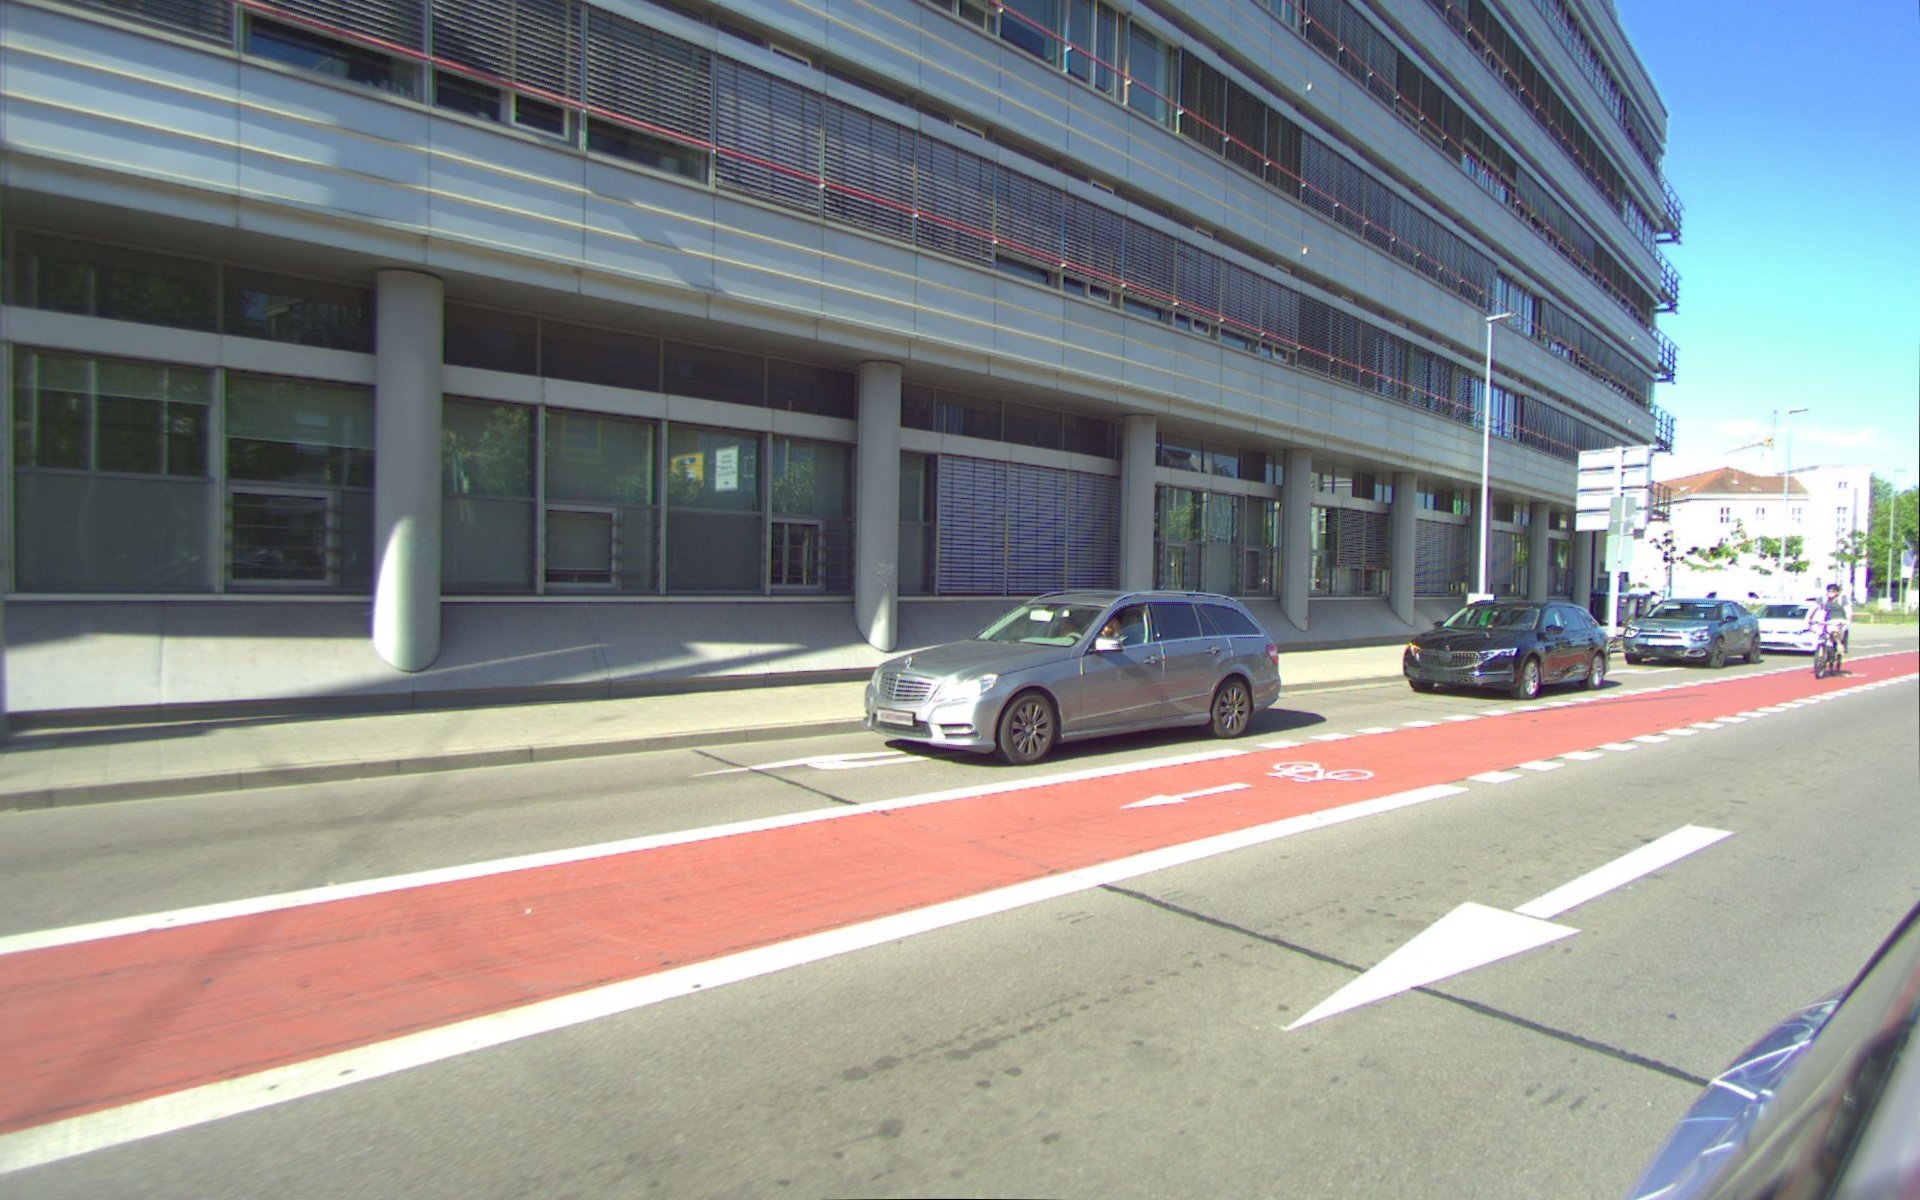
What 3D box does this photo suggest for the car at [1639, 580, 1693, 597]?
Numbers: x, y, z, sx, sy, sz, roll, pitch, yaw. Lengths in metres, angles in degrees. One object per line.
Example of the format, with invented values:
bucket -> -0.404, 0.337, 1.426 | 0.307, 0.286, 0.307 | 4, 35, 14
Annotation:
car -> 70.084, -1.176, 100.498 | 1.835, 1.575, 4.010 | 0, 2, -18

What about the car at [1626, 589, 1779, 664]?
car -> 17.030, 0.537, 23.145 | 4.319, 1.543, 1.726 | 0, 2, -38

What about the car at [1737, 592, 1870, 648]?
car -> 22.905, 0.502, 27.438 | 4.213, 1.421, 1.778 | 0, 0, -36

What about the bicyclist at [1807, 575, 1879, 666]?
bicyclist -> 17.272, 0.388, 19.799 | 1.031, 1.714, 0.809 | 0, 0, -33

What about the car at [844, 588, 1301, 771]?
car -> 1.304, 0.607, 10.119 | 4.701, 1.413, 1.726 | 0, 2, -39

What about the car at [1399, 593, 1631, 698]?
car -> 9.020, 0.620, 16.277 | 4.555, 1.440, 1.725 | 0, 1, -40

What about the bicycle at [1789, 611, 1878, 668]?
bicycle -> 17.138, 0.756, 19.846 | 1.855, 1.050, 0.828 | 0, 0, -33

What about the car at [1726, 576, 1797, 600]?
car -> 70.672, -1.059, 89.328 | 1.835, 2.006, 4.666 | 0, 2, -19
